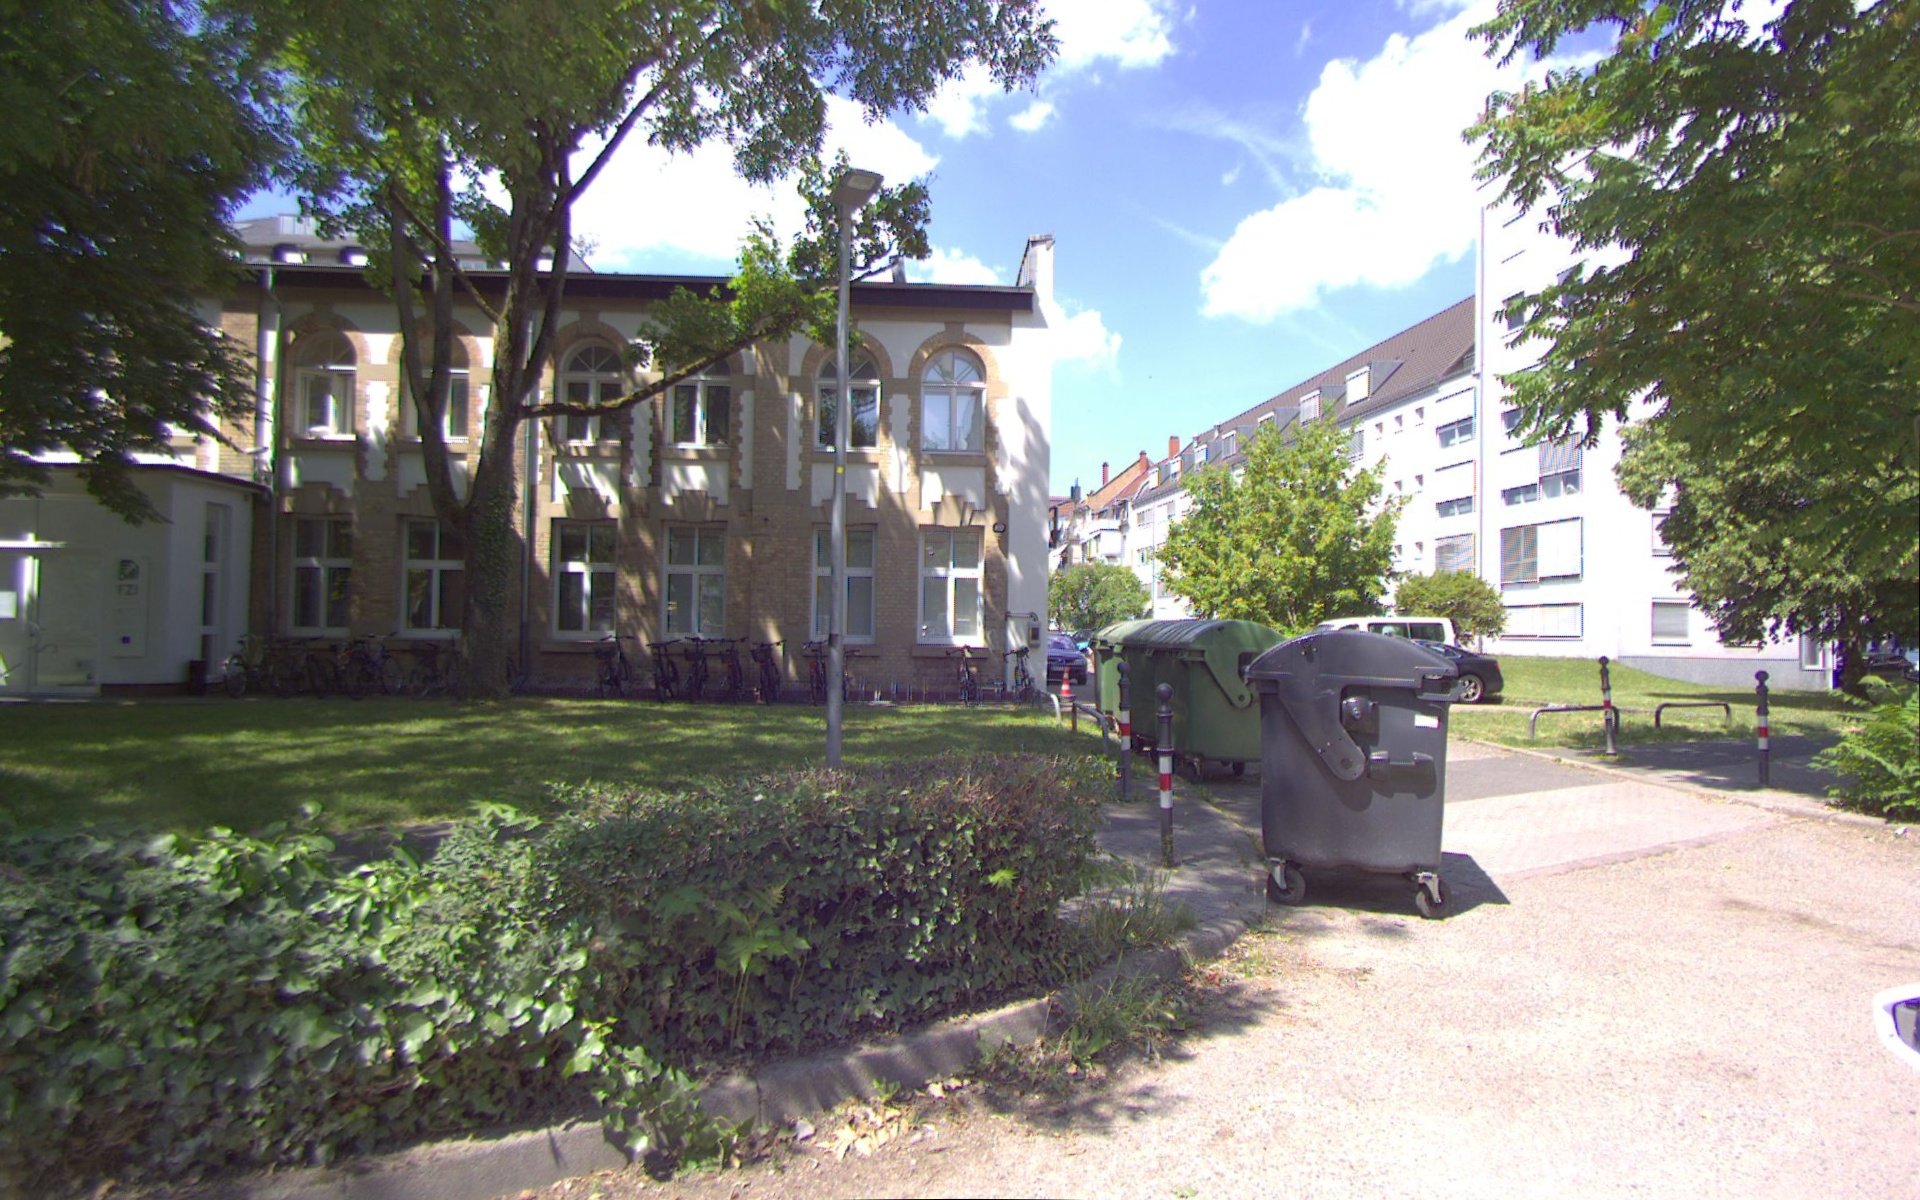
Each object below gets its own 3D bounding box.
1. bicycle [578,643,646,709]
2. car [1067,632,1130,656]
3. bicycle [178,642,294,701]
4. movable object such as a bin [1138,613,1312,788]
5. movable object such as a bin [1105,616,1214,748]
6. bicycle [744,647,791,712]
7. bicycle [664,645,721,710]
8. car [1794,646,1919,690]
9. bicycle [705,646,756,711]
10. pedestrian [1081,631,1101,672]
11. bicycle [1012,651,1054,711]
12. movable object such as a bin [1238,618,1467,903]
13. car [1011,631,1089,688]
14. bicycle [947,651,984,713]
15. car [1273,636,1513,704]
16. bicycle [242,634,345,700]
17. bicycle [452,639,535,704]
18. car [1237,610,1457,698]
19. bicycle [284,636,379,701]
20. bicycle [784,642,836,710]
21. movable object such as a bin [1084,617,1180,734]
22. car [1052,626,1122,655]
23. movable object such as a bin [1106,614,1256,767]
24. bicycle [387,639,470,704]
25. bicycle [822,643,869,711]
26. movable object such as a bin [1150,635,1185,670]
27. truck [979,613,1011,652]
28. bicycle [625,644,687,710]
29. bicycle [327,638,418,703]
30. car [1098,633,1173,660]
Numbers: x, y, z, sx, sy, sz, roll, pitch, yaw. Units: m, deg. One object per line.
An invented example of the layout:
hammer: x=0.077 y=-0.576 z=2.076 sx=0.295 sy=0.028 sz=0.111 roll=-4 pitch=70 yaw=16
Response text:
bicycle: x=-6.062 y=1.300 z=17.610 sx=0.596 sy=1.024 sz=2.258 roll=1 pitch=-1 yaw=-6
car: x=9.282 y=2.964 z=67.689 sx=3.923 sy=1.554 sz=1.804 roll=0 pitch=-2 yaw=-4
bicycle: x=-12.226 y=1.181 z=17.055 sx=0.644 sy=0.902 sz=2.256 roll=1 pitch=-1 yaw=-10
movable object such as a bin: x=2.406 y=0.885 z=9.328 sx=1.185 sy=1.499 sz=1.324 roll=0 pitch=-1 yaw=-5
movable object such as a bin: x=2.363 y=0.954 z=12.071 sx=1.027 sy=1.499 sz=1.262 roll=0 pitch=-1 yaw=-2
bicycle: x=-3.382 y=1.369 z=17.781 sx=0.596 sy=1.024 sz=2.258 roll=1 pitch=-1 yaw=-6
bicycle: x=-4.682 y=1.331 z=17.713 sx=0.596 sy=1.024 sz=2.258 roll=1 pitch=-1 yaw=-6
car: x=34.991 y=2.643 z=39.224 sx=3.558 sy=1.642 sz=1.673 roll=1 pitch=-1 yaw=-2
bicycle: x=-4.027 y=1.356 z=17.754 sx=0.596 sy=1.024 sz=2.258 roll=1 pitch=-1 yaw=-6
pedestrian: x=5.708 y=2.246 z=43.857 sx=0.745 sy=1.778 sz=0.751 roll=1 pitch=-1 yaw=-2
bicycle: x=1.291 y=1.425 z=18.034 sx=0.602 sy=0.971 sz=1.730 roll=1 pitch=-1 yaw=-1
movable object such as a bin: x=2.205 y=0.814 z=5.732 sx=1.094 sy=1.412 sz=1.160 roll=0 pitch=-2 yaw=21
car: x=2.471 y=1.614 z=28.493 sx=1.726 sy=1.448 sz=4.386 roll=1 pitch=-1 yaw=-1
bicycle: x=0.082 y=1.431 z=17.996 sx=0.595 sy=0.971 sz=2.260 roll=1 pitch=-1 yaw=-1
car: x=9.449 y=1.506 z=22.139 sx=4.537 sy=1.370 sz=1.833 roll=1 pitch=-1 yaw=-3
bicycle: x=-11.455 y=1.125 z=17.349 sx=0.621 sy=1.025 sz=2.256 roll=1 pitch=-1 yaw=-10
bicycle: x=-8.154 y=1.226 z=17.647 sx=0.596 sy=1.024 sz=2.258 roll=1 pitch=-1 yaw=-6
car: x=9.479 y=1.335 z=24.864 sx=4.682 sy=2.040 sz=2.000 roll=1 pitch=-2 yaw=-3
bicycle: x=-10.816 y=1.147 z=17.368 sx=0.560 sy=1.024 sz=2.256 roll=1 pitch=-1 yaw=-10
bicycle: x=-2.649 y=1.320 z=17.956 sx=0.595 sy=1.096 sz=2.260 roll=1 pitch=-1 yaw=-1
movable object such as a bin: x=2.291 y=0.991 z=13.561 sx=1.027 sy=1.499 sz=1.410 roll=0 pitch=-2 yaw=-2
car: x=8.904 y=2.829 z=70.718 sx=4.603 sy=1.984 sz=2.076 roll=0 pitch=-2 yaw=-4
movable object such as a bin: x=2.304 y=0.917 z=10.656 sx=1.077 sy=1.499 sz=1.357 roll=1 pitch=-2 yaw=-13
bicycle: x=-9.229 y=1.210 z=17.540 sx=0.596 sy=1.024 sz=2.256 roll=1 pitch=-1 yaw=-10
bicycle: x=-2.018 y=1.333 z=17.942 sx=0.595 sy=1.096 sz=2.260 roll=1 pitch=-1 yaw=-1
movable object such as a bin: x=8.354 y=2.104 z=40.472 sx=1.196 sy=1.344 sz=1.161 roll=0 pitch=-1 yaw=0
truck: x=2.733 y=2.583 z=79.893 sx=1.761 sy=2.975 sz=4.648 roll=1 pitch=-2 yaw=-8
bicycle: x=-5.322 y=1.321 z=17.699 sx=0.596 sy=1.024 sz=2.258 roll=1 pitch=-1 yaw=-6
bicycle: x=-10.186 y=1.195 z=17.505 sx=0.596 sy=1.024 sz=2.256 roll=1 pitch=-1 yaw=-10
car: x=10.126 y=2.697 z=58.102 sx=3.923 sy=1.498 sz=1.804 roll=0 pitch=-2 yaw=-4
